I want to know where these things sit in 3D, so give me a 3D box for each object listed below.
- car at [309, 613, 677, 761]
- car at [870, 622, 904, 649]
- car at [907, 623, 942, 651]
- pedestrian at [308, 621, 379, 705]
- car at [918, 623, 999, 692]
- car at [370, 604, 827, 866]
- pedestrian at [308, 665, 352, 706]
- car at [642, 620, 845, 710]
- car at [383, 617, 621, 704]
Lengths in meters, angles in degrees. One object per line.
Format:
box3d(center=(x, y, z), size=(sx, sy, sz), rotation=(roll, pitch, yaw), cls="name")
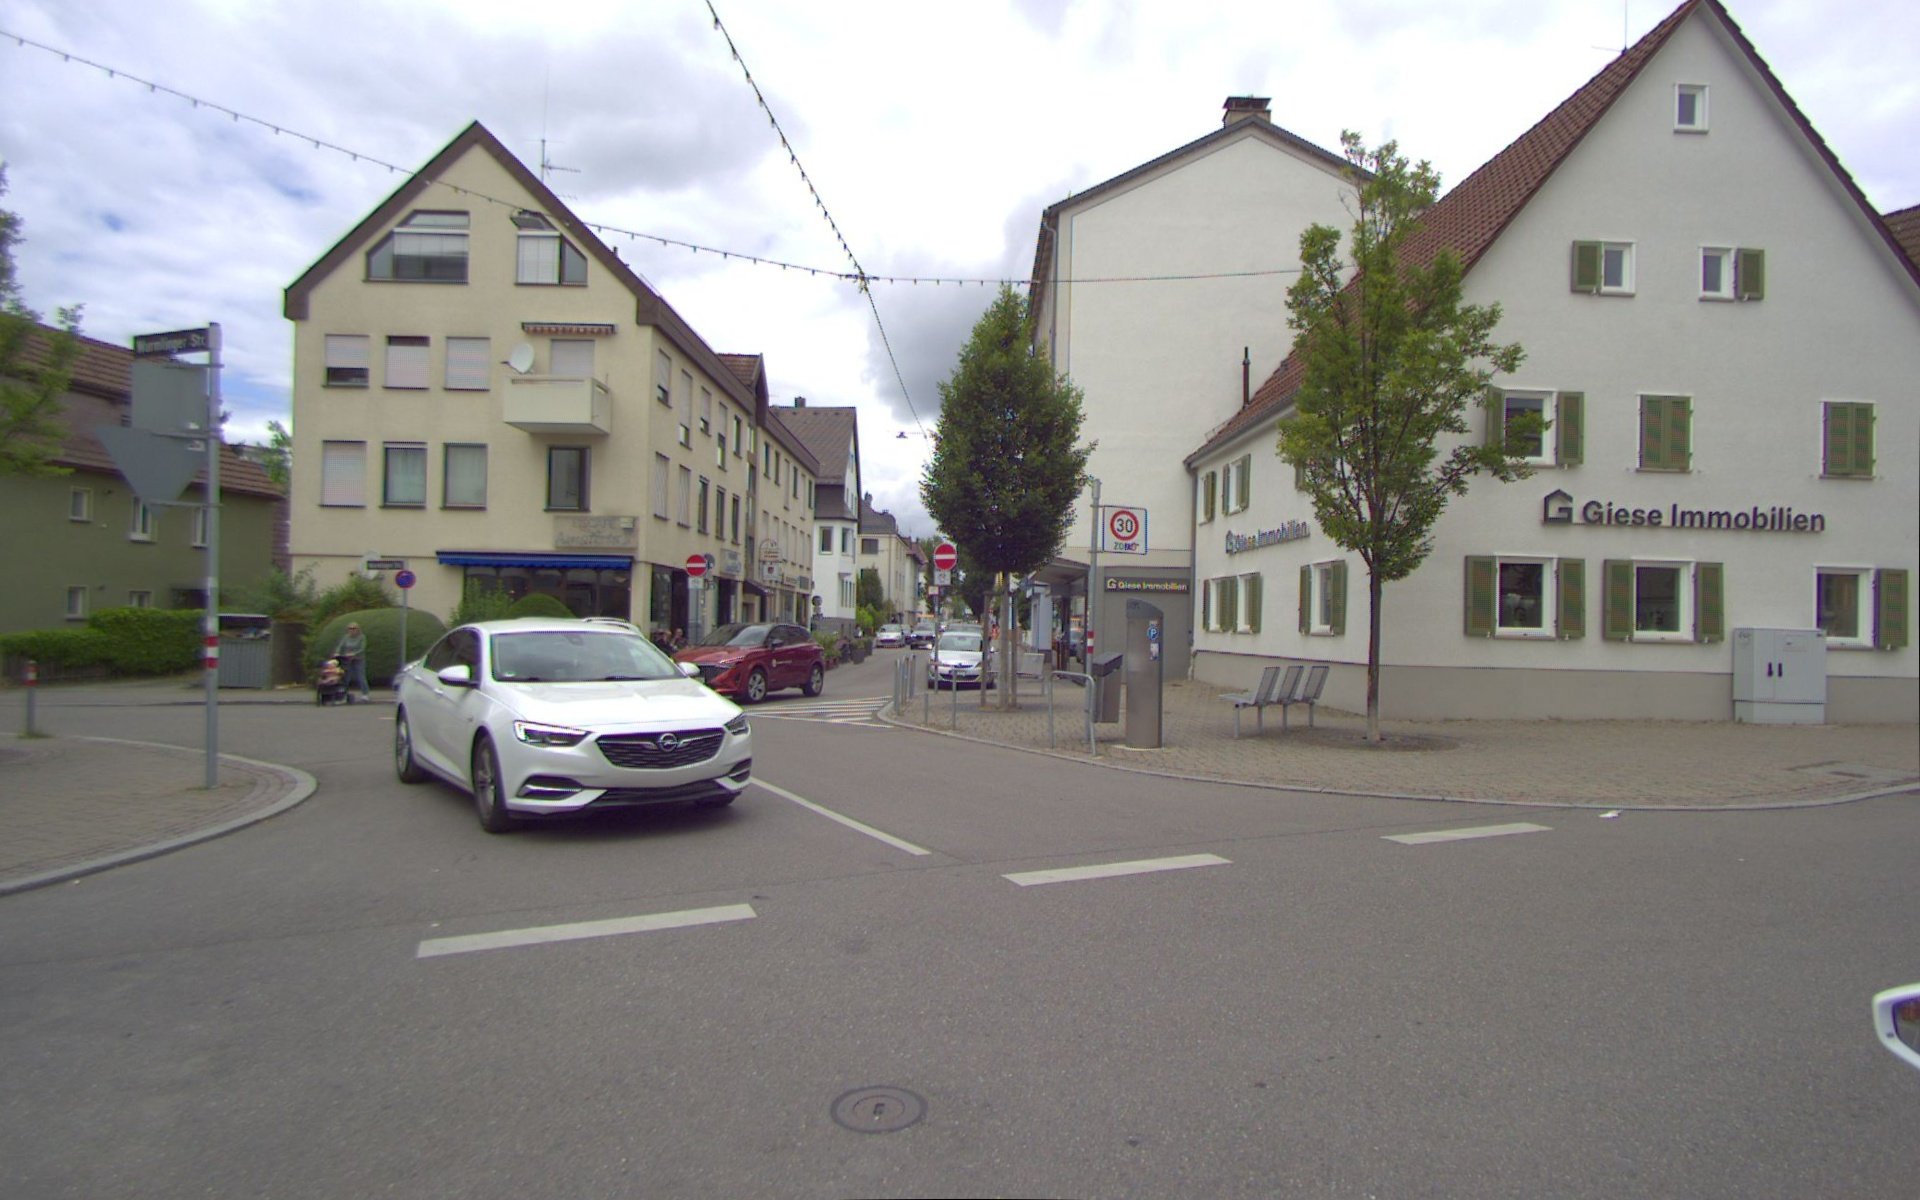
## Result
box3d(center=(-5.982, 0.997, 13.728), size=(1.980, 1.578, 4.922), rotation=(1, 0, 12), cls="car")
box3d(center=(-4.683, 2.271, 65.063), size=(1.961, 1.661, 4.328), rotation=(0, -2, -1), cls="car")
box3d(center=(-2.120, 2.250, 61.232), size=(1.961, 1.661, 4.328), rotation=(0, -2, -1), cls="car")
box3d(center=(-12.738, 1.287, 20.773), size=(0.755, 1.691, 0.955), rotation=(0, -2, 15), cls="pedestrian")
box3d(center=(0.037, 1.485, 27.213), size=(1.981, 1.578, 4.920), rotation=(1, 0, 2), cls="car")
box3d(center=(-3.348, 0.824, 8.533), size=(2.230, 1.496, 4.864), rotation=(1, 0, -38), cls="car")
box3d(center=(-12.701, 1.722, 20.259), size=(0.563, 0.810, 0.454), rotation=(0, -1, 2), cls="pedestrian")
box3d(center=(-4.328, 1.241, 21.049), size=(1.981, 1.578, 4.920), rotation=(1, 0, 17), cls="car")
box3d(center=(-9.308, 1.215, 20.791), size=(4.263, 1.661, 1.991), rotation=(1, -2, -21), cls="car")
